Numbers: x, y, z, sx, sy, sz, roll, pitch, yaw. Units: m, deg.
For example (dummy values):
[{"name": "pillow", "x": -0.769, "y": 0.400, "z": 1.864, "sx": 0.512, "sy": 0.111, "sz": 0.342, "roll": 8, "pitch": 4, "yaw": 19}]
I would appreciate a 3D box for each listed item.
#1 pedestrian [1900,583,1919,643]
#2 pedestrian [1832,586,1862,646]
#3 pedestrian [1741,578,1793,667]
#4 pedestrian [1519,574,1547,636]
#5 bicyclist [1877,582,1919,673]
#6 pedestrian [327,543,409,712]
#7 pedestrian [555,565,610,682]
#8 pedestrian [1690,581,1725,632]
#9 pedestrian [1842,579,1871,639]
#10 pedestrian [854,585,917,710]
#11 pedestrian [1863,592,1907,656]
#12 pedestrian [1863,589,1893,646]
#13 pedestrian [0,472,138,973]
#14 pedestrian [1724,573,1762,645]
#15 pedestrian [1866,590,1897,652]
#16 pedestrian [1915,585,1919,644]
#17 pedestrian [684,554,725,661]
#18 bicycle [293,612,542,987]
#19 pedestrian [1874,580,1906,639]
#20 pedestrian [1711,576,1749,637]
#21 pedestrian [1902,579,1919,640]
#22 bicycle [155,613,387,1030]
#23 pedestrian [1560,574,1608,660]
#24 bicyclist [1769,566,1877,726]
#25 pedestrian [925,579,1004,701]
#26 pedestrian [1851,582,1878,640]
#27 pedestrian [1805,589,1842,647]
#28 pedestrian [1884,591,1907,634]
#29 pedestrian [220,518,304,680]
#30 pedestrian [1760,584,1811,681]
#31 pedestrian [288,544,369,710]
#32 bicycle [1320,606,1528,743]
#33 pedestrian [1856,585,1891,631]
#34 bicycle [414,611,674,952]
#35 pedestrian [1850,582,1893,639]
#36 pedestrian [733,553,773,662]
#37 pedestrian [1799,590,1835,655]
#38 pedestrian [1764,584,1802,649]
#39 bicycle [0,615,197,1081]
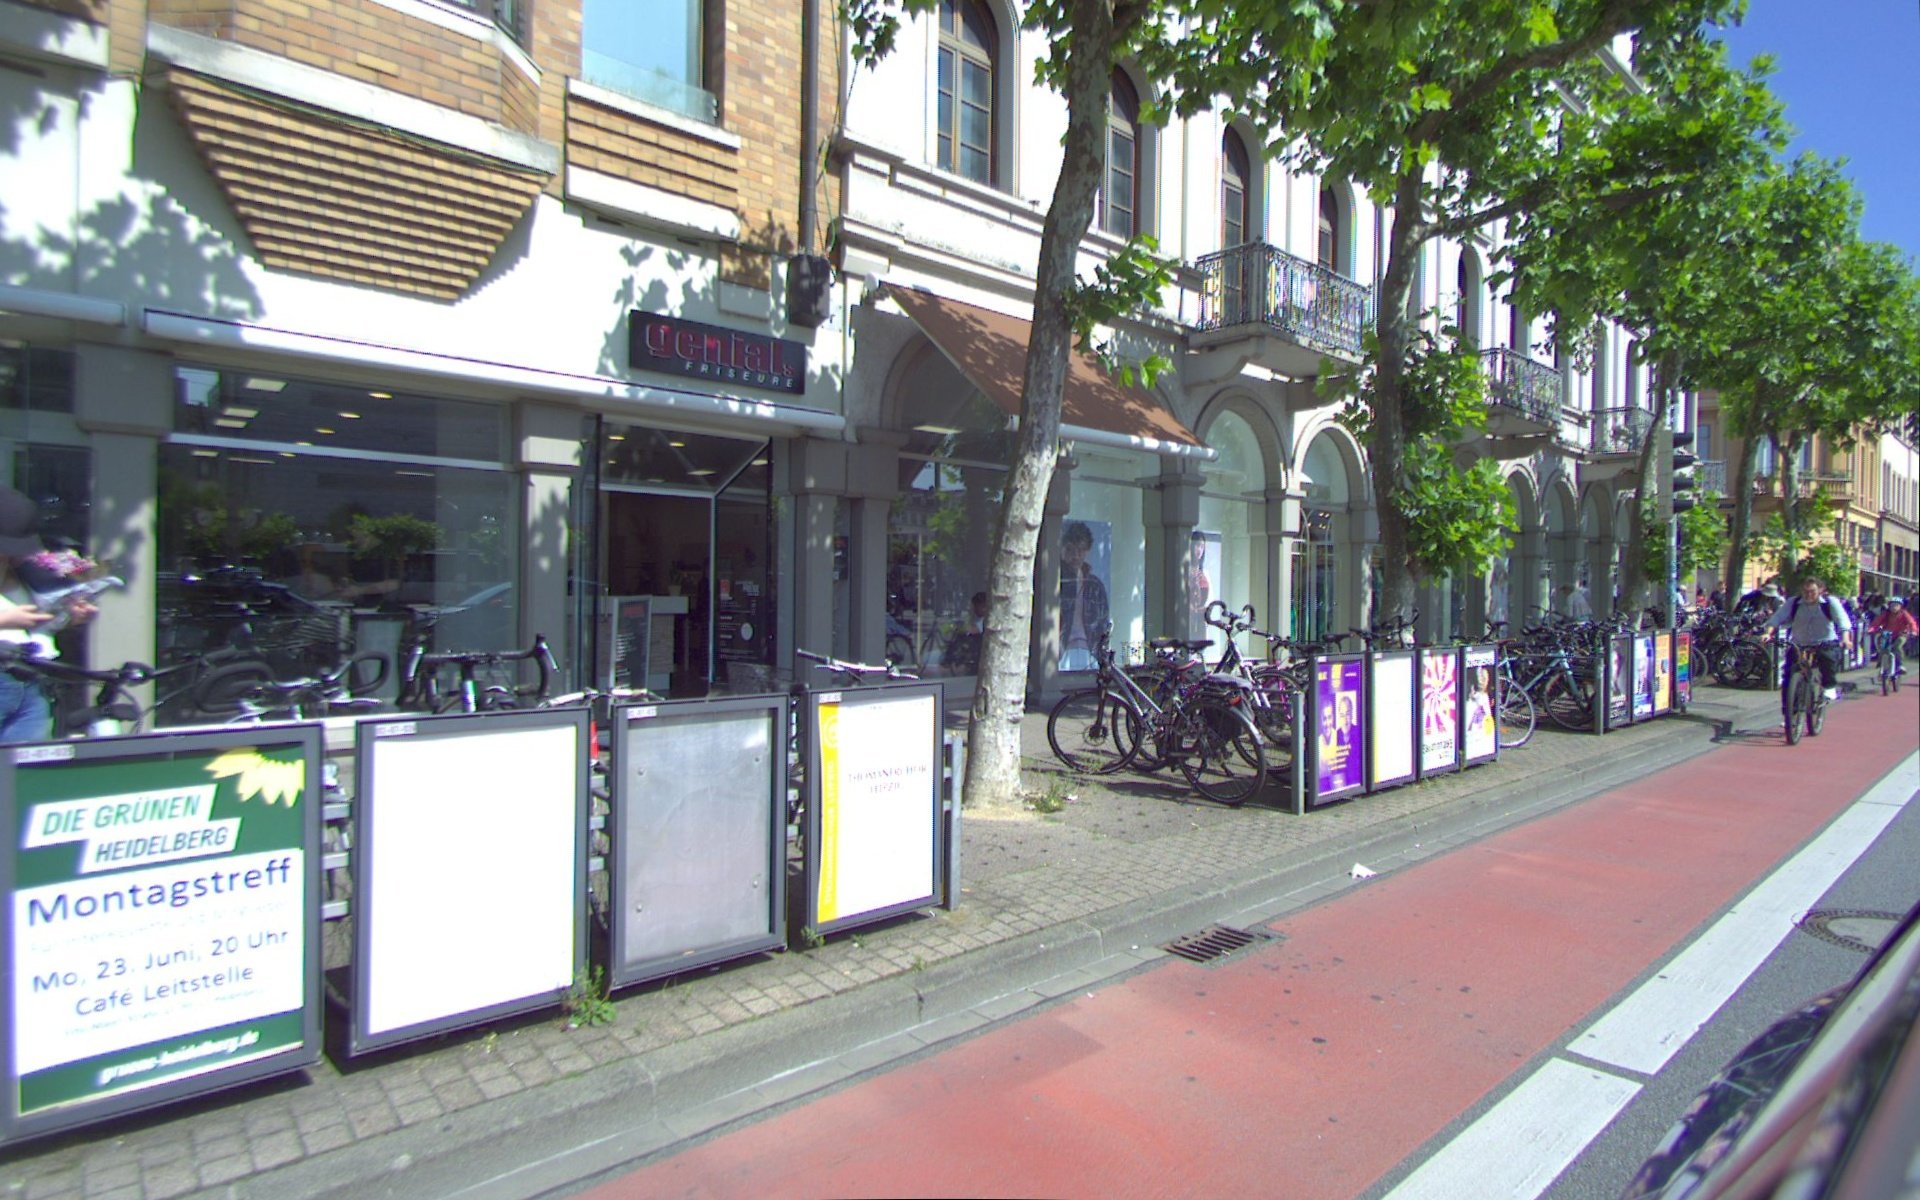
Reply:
[{"name": "pedestrian", "x": 27.536, "y": 0.371, "z": 29.188, "sx": 0.612, "sy": 1.706, "sz": 0.577, "roll": 1, "pitch": -1, "yaw": -44}, {"name": "pedestrian", "x": 25.670, "y": 0.459, "z": 29.286, "sx": 0.612, "sy": 1.706, "sz": 0.577, "roll": 1, "pitch": -1, "yaw": -44}, {"name": "pedestrian", "x": 14.522, "y": 0.401, "z": 18.210, "sx": 0.655, "sy": 1.558, "sz": 0.605, "roll": 1, "pitch": -1, "yaw": -42}, {"name": "pedestrian", "x": 14.558, "y": 0.126, "z": 25.696, "sx": 0.502, "sy": 1.553, "sz": 0.530, "roll": -1, "pitch": -1, "yaw": 42}, {"name": "bicyclist", "x": 15.017, "y": 0.423, "z": 15.994, "sx": 0.765, "sy": 1.414, "sz": 0.689, "roll": 0, "pitch": -1, "yaw": -42}, {"name": "pedestrian", "x": -5.121, "y": 0.230, "z": 8.757, "sx": 0.413, "sy": 1.405, "sz": 0.517, "roll": -1, "pitch": -1, "yaw": 44}, {"name": "pedestrian", "x": -4.667, "y": 0.283, "z": 12.518, "sx": 0.413, "sy": 1.405, "sz": 0.517, "roll": -1, "pitch": -1, "yaw": 44}, {"name": "pedestrian", "x": 25.064, "y": 0.212, "z": 33.947, "sx": 0.611, "sy": 1.668, "sz": 0.797, "roll": 0, "pitch": -1, "yaw": -40}, {"name": "pedestrian", "x": 26.724, "y": 0.271, "z": 30.155, "sx": 0.612, "sy": 1.746, "sz": 0.577, "roll": 1, "pitch": -1, "yaw": -44}, {"name": "pedestrian", "x": -0.779, "y": 0.487, "z": 10.695, "sx": 0.581, "sy": 1.268, "sz": 0.727, "roll": 0, "pitch": -1, "yaw": 3}, {"name": "pedestrian", "x": 24.939, "y": 0.642, "z": 27.279, "sx": 0.567, "sy": 1.706, "sz": 0.623, "roll": 0, "pitch": -1, "yaw": -7}, {"name": "pedestrian", "x": 26.193, "y": 0.503, "z": 28.880, "sx": 0.612, "sy": 1.604, "sz": 0.577, "roll": 1, "pitch": -1, "yaw": -44}, {"name": "pedestrian", "x": -3.407, "y": 0.406, "z": 3.570, "sx": 0.652, "sy": 1.654, "sz": 0.718, "roll": -1, "pitch": -1, "yaw": 45}, {"name": "pedestrian", "x": 20.146, "y": 0.217, "z": 26.022, "sx": 0.763, "sy": 1.816, "sz": 0.634, "roll": 1, "pitch": -1, "yaw": -43}, {"name": "pedestrian", "x": 25.685, "y": 0.581, "z": 28.214, "sx": 0.762, "sy": 1.706, "sz": 0.577, "roll": 1, "pitch": -1, "yaw": -44}, {"name": "pedestrian", "x": 28.176, "y": 0.436, "z": 29.366, "sx": 0.581, "sy": 1.705, "sz": 0.568, "roll": 1, "pitch": 2, "yaw": -44}, {"name": "pedestrian", "x": -3.420, "y": 0.101, "z": 13.562, "sx": 0.407, "sy": 1.405, "sz": 0.525, "roll": 0, "pitch": -1, "yaw": 2}, {"name": "bicycle", "x": -2.250, "y": 0.653, "z": 4.083, "sx": 0.474, "sy": 1.161, "sz": 1.755, "roll": 1, "pitch": 1, "yaw": -42}, {"name": "pedestrian", "x": 30.192, "y": 0.295, "z": 32.856, "sx": 0.612, "sy": 1.882, "sz": 0.685, "roll": 1, "pitch": -1, "yaw": -44}, {"name": "pedestrian", "x": 22.887, "y": 0.198, "z": 30.079, "sx": 1.165, "sy": 1.780, "sz": 0.621, "roll": 0, "pitch": -1, "yaw": -39}, {"name": "pedestrian", "x": 28.554, "y": 0.282, "z": 30.190, "sx": 0.687, "sy": 1.807, "sz": 0.577, "roll": 1, "pitch": 2, "yaw": -44}, {"name": "bicycle", "x": -2.613, "y": 0.654, "z": 3.755, "sx": 0.474, "sy": 1.161, "sz": 1.755, "roll": 1, "pitch": 1, "yaw": -42}, {"name": "pedestrian", "x": 12.839, "y": 0.342, "z": 20.824, "sx": 0.664, "sy": 1.718, "sz": 0.658, "roll": 0, "pitch": -1, "yaw": -39}, {"name": "bicyclist", "x": 9.089, "y": 0.462, "z": 10.657, "sx": 0.765, "sy": 1.597, "sz": 0.749, "roll": 0, "pitch": -1, "yaw": -42}, {"name": "pedestrian", "x": 0.053, "y": 0.441, "z": 11.345, "sx": 0.851, "sy": 1.323, "sz": 0.654, "roll": 0, "pitch": -1, "yaw": 1}, {"name": "pedestrian", "x": 28.937, "y": 0.354, "z": 32.387, "sx": 0.685, "sy": 1.825, "sz": 0.577, "roll": 1, "pitch": -1, "yaw": -44}, {"name": "pedestrian", "x": 24.414, "y": 0.504, "z": 28.619, "sx": 0.571, "sy": 1.604, "sz": 0.518, "roll": 0, "pitch": -1, "yaw": -1}, {"name": "pedestrian", "x": 36.710, "y": 0.477, "z": 39.711, "sx": 0.575, "sy": 1.680, "sz": 0.613, "roll": 1, "pitch": 0, "yaw": 38}, {"name": "pedestrian", "x": -6.658, "y": -0.009, "z": 9.655, "sx": 0.632, "sy": 1.474, "sz": 0.600, "roll": 0, "pitch": -1, "yaw": -37}, {"name": "pedestrian", "x": 16.952, "y": 0.653, "z": 20.784, "sx": 0.763, "sy": 1.926, "sz": 0.701, "roll": 1, "pitch": -1, "yaw": -43}, {"name": "pedestrian", "x": -5.549, "y": 0.233, "z": 8.899, "sx": 0.413, "sy": 1.405, "sz": 0.517, "roll": -1, "pitch": -1, "yaw": 44}, {"name": "bicycle", "x": 4.390, "y": 0.654, "z": 9.682, "sx": 0.474, "sy": 1.161, "sz": 1.755, "roll": 1, "pitch": 1, "yaw": -42}, {"name": "pedestrian", "x": 37.119, "y": 0.322, "z": 41.130, "sx": 0.733, "sy": 1.828, "sz": 0.736, "roll": 1, "pitch": 0, "yaw": -9}, {"name": "bicycle", "x": -1.873, "y": 0.653, "z": 4.406, "sx": 0.474, "sy": 1.161, "sz": 1.755, "roll": 1, "pitch": 1, "yaw": -42}, {"name": "pedestrian", "x": 30.464, "y": 0.353, "z": 33.824, "sx": 0.838, "sy": 1.869, "sz": 0.623, "roll": 0, "pitch": -1, "yaw": -2}, {"name": "pedestrian", "x": -2.719, "y": 0.096, "z": 13.334, "sx": 0.407, "sy": 1.405, "sz": 0.525, "roll": 0, "pitch": -1, "yaw": 2}, {"name": "pedestrian", "x": 23.825, "y": 0.613, "z": 28.134, "sx": 0.741, "sy": 1.762, "sz": 0.675, "roll": 1, "pitch": -1, "yaw": -43}, {"name": "pedestrian", "x": 23.330, "y": 0.457, "z": 28.690, "sx": 0.763, "sy": 1.805, "sz": 0.720, "roll": 1, "pitch": -1, "yaw": -43}, {"name": "bicycle", "x": -2.966, "y": 0.659, "z": 3.408, "sx": 0.474, "sy": 1.161, "sz": 1.755, "roll": 1, "pitch": 1, "yaw": -42}]
